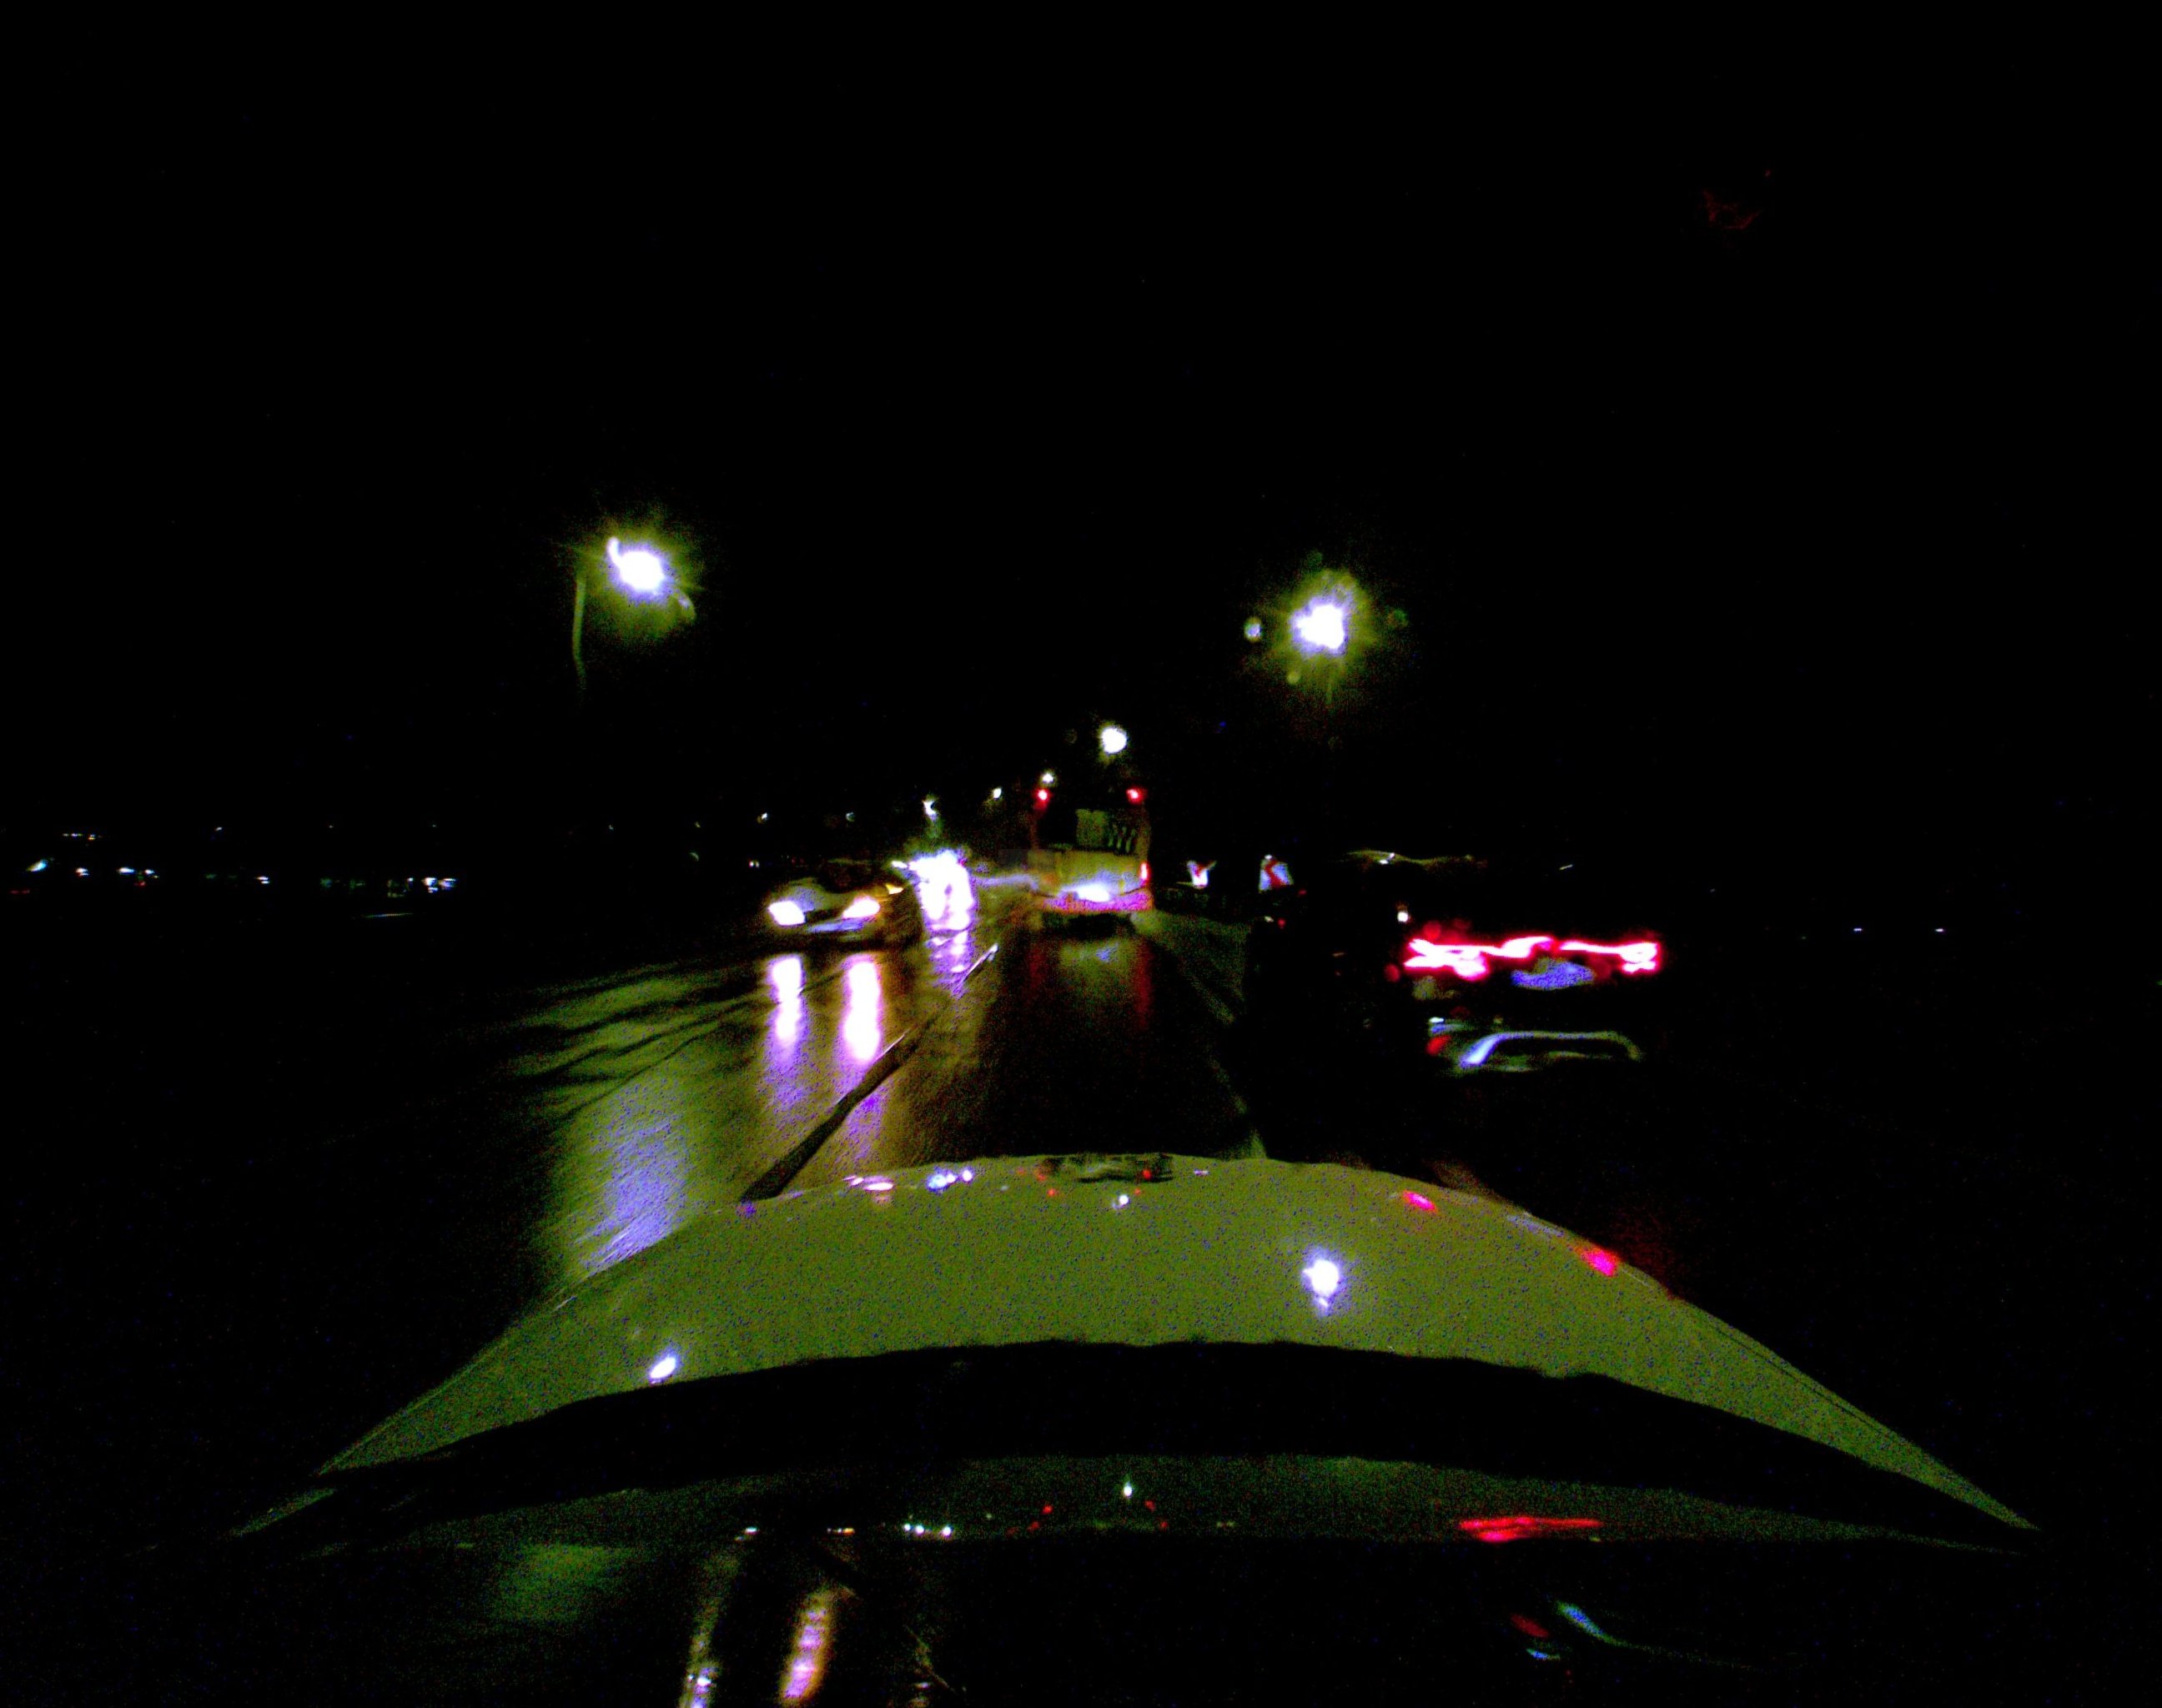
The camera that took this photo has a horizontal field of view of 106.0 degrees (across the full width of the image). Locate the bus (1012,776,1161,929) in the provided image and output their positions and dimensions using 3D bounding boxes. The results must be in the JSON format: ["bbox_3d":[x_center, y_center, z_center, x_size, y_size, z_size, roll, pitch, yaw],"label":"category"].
[{"bbox_3d":[-0.220,-0.054,23.174,3.077,3.133,12.681,0,0,-3],"label":"bus"}]

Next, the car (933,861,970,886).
[{"bbox_3d":[-8.339,1.234,52.741,1.761,1.517,3.947,-1,0,-1],"label":"car"}]

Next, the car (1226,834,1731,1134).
[{"bbox_3d":[2.571,0.727,6.487,1.852,1.586,3.994,-1,-1,-4],"label":"car"}]

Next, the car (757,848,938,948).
[{"bbox_3d":[-4.374,0.747,16.119,1.990,1.675,4.621,0,0,3],"label":"car"}]

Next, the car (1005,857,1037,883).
[{"bbox_3d":[-4.885,1.346,66.055,1.995,2.014,3.983,2,-3,-12],"label":"car"}]

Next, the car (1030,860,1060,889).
[{"bbox_3d":[-2.229,1.210,49.536,1.634,1.656,3.701,0,-1,-6],"label":"car"}]

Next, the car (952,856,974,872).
[{"bbox_3d":[-13.548,1.145,93.473,1.998,1.739,3.977,0,0,-17],"label":"car"}]

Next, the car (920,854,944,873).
[{"bbox_3d":[-16.166,1.028,88.131,1.999,2.014,3.976,2,-1,-18],"label":"car"}]
